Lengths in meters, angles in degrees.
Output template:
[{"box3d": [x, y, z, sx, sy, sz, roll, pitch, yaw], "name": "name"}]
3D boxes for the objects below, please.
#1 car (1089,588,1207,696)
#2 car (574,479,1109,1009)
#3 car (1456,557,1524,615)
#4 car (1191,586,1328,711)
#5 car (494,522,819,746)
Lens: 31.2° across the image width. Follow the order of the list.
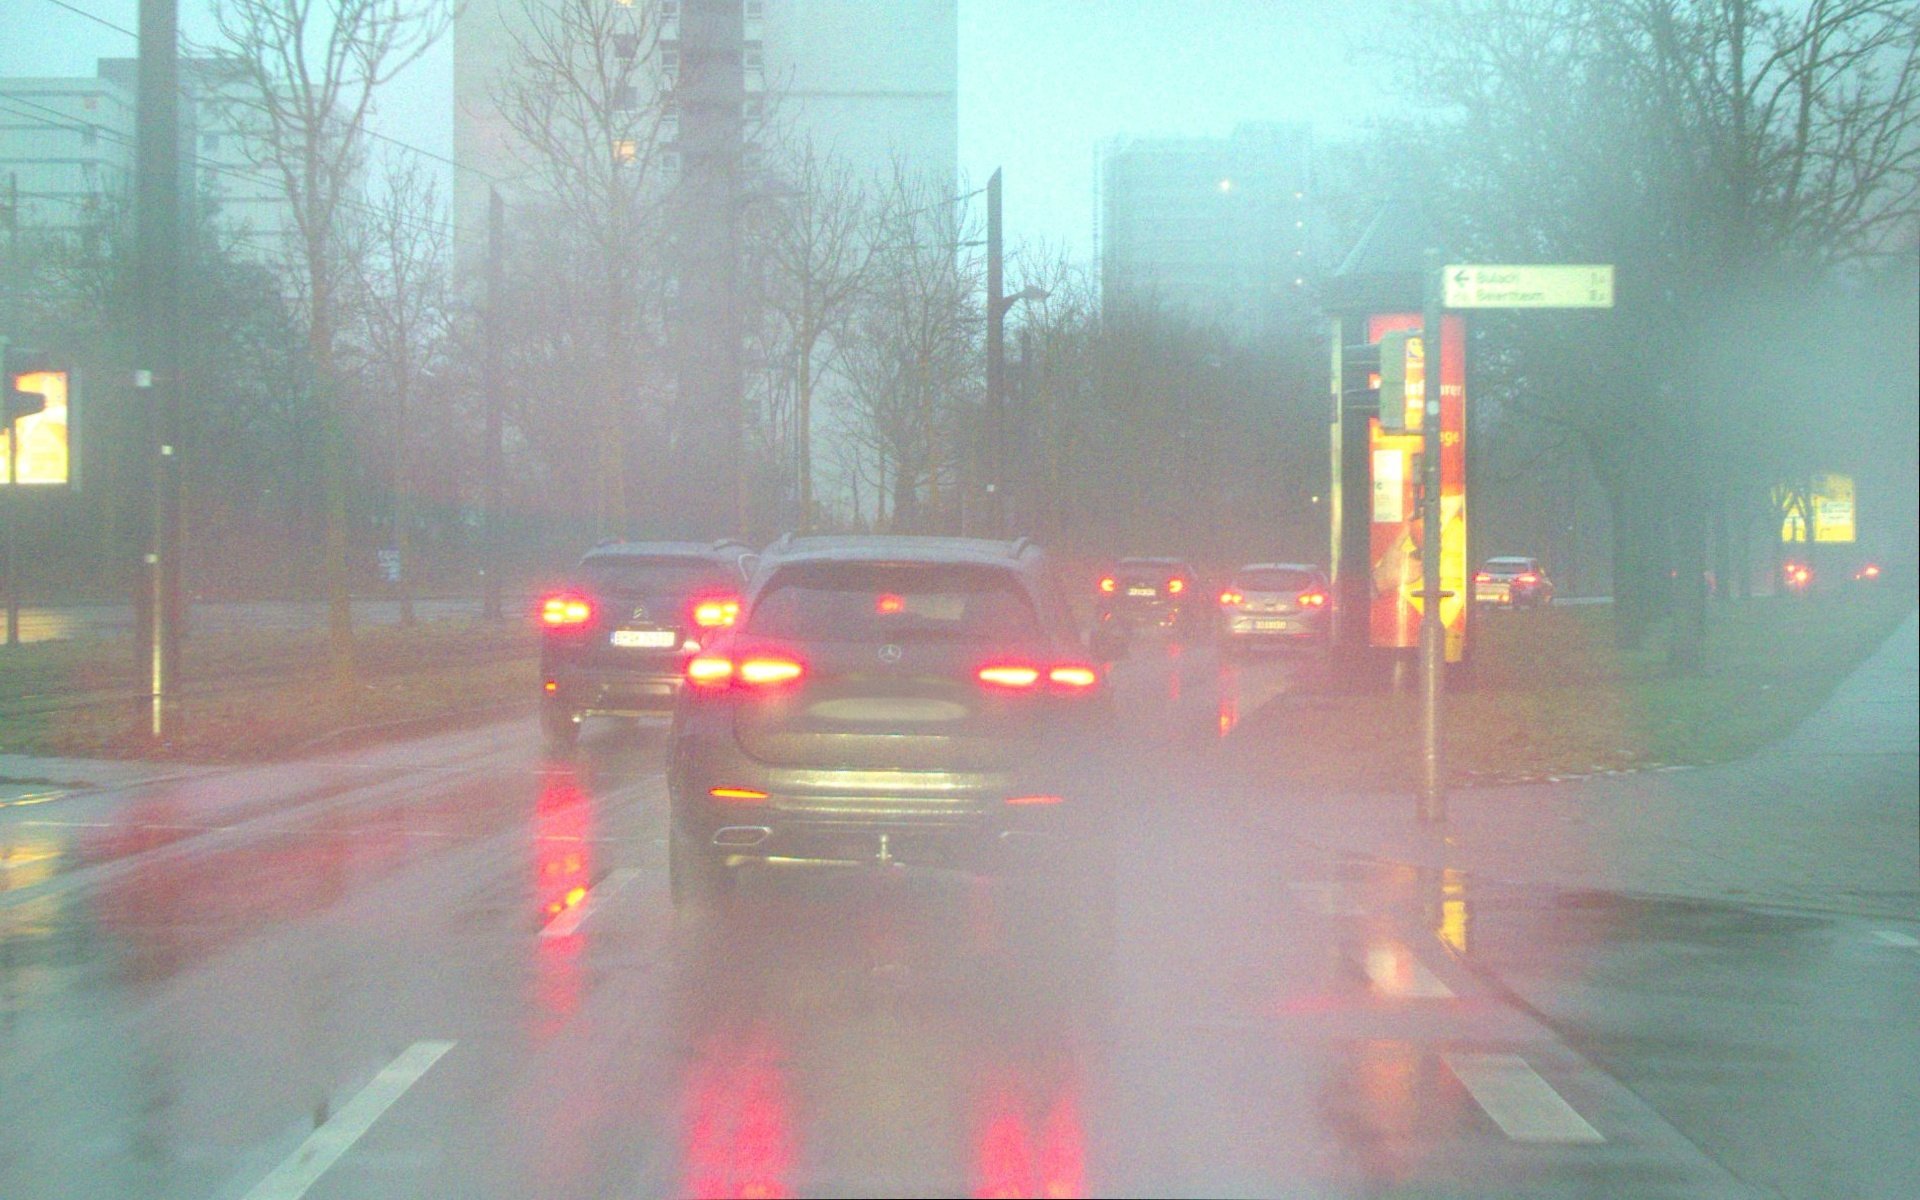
[{"box3d": [3.519, 0.774, 63.875, 1.773, 1.885, 3.641, 2, 0, 9], "name": "car"}, {"box3d": [-0.407, 0.565, 15.217, 1.993, 1.969, 4.068, 2, 0, 1], "name": "car"}, {"box3d": [14.535, -0.376, 94.481, 1.535, 1.508, 3.342, 2, 0, 4], "name": "car"}, {"box3d": [4.860, 0.773, 55.360, 1.857, 1.885, 3.998, 2, 0, 9], "name": "car"}, {"box3d": [-2.491, 0.286, 29.301, 1.994, 1.706, 4.323, 2, 0, 5], "name": "car"}]
